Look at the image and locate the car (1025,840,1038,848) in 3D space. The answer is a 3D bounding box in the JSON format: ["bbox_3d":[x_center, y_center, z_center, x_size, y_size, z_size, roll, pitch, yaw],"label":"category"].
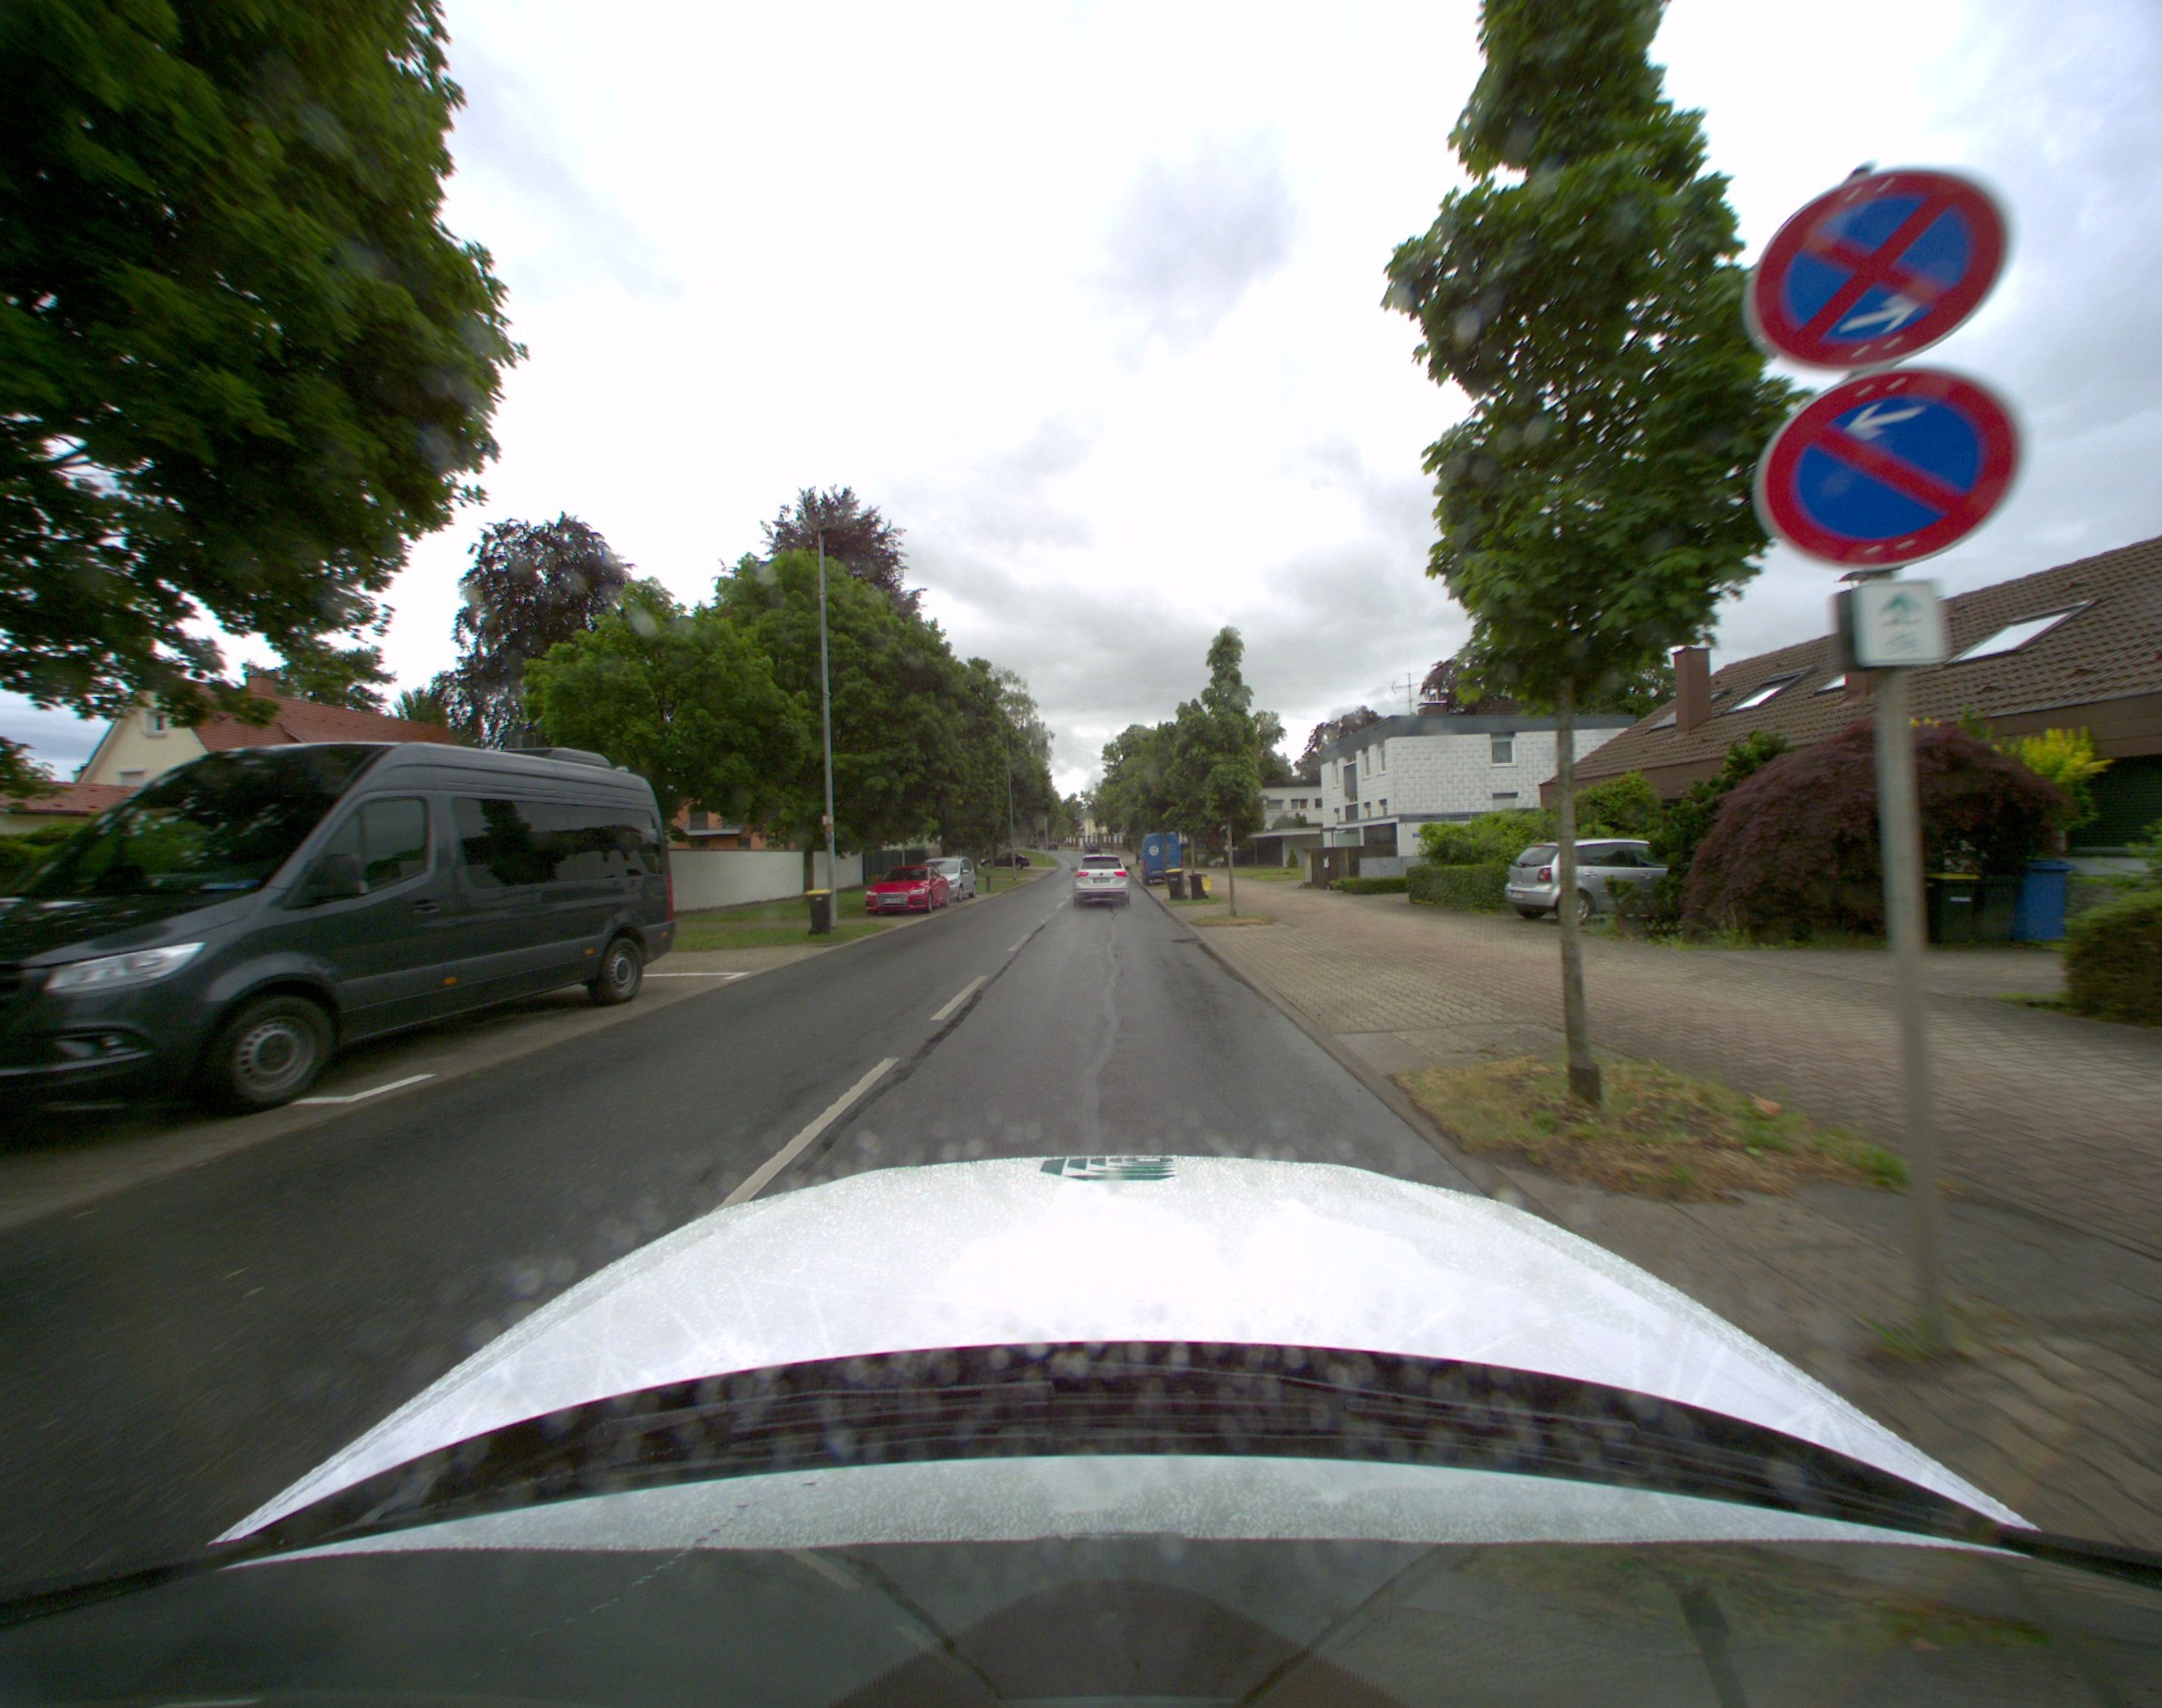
[{"bbox_3d":[-9.116,-1.908,150.499,1.645,1.427,3.980,-1,1,-15],"label":"car"}]

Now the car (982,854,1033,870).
[{"bbox_3d":[-6.523,0.714,72.214,4.197,1.363,1.693,0,0,6],"label":"car"}]

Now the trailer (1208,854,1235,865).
[{"bbox_3d":[11.393,0.451,66.076,2.033,0.883,1.366,0,0,4],"label":"trailer"}]

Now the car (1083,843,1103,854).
[{"bbox_3d":[1.690,-0.814,117.771,1.647,1.427,3.977,-1,1,-18],"label":"car"}]

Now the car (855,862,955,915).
[{"bbox_3d":[-5.306,0.980,25.168,1.986,1.403,4.558,-2,0,1],"label":"car"}]

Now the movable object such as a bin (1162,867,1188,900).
[{"bbox_3d":[3.115,0.962,27.026,0.608,1.015,0.566,-7,-2,27],"label":"movable object such as a bin"}]

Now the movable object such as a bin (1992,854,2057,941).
[{"bbox_3d":[12.164,0.555,10.504,0.375,1.089,0.358,-2,0,7],"label":"movable object such as a bin"}]

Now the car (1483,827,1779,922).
[{"bbox_3d":[9.603,0.351,14.472,3.972,1.442,1.848,-2,-1,1],"label":"car"}]

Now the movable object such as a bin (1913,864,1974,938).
[{"bbox_3d":[11.139,0.600,10.520,0.375,0.933,0.358,-2,0,7],"label":"movable object such as a bin"}]

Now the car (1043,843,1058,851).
[{"bbox_3d":[-5.125,-1.177,135.580,1.645,1.427,3.980,-1,1,-15],"label":"car"}]

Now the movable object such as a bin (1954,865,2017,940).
[{"bbox_3d":[11.603,0.611,10.458,0.375,0.933,0.358,-2,0,7],"label":"movable object such as a bin"}]

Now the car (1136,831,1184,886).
[{"bbox_3d":[4.133,0.222,43.298,1.986,2.586,5.635,-4,0,1],"label":"car"}]

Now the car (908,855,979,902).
[{"bbox_3d":[-5.105,0.859,30.734,1.749,1.627,4.235,-2,0,2],"label":"car"}]

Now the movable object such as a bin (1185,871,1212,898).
[{"bbox_3d":[3.811,0.987,26.392,0.653,0.800,0.604,-6,-2,27],"label":"movable object such as a bin"}]

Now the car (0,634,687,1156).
[{"bbox_3d":[-6.043,0.213,7.241,1.986,2.728,5.941,0,0,2],"label":"car"}]

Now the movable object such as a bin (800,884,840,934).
[{"bbox_3d":[-5.190,1.085,16.210,0.555,0.953,0.550,-2,0,5],"label":"movable object such as a bin"}]

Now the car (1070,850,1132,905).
[{"bbox_3d":[0.624,0.744,27.431,1.859,1.650,3.999,-2,0,0],"label":"car"}]

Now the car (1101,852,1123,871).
[{"bbox_3d":[2.701,0.660,72.577,1.763,1.551,3.999,-2,-1,0],"label":"car"}]
